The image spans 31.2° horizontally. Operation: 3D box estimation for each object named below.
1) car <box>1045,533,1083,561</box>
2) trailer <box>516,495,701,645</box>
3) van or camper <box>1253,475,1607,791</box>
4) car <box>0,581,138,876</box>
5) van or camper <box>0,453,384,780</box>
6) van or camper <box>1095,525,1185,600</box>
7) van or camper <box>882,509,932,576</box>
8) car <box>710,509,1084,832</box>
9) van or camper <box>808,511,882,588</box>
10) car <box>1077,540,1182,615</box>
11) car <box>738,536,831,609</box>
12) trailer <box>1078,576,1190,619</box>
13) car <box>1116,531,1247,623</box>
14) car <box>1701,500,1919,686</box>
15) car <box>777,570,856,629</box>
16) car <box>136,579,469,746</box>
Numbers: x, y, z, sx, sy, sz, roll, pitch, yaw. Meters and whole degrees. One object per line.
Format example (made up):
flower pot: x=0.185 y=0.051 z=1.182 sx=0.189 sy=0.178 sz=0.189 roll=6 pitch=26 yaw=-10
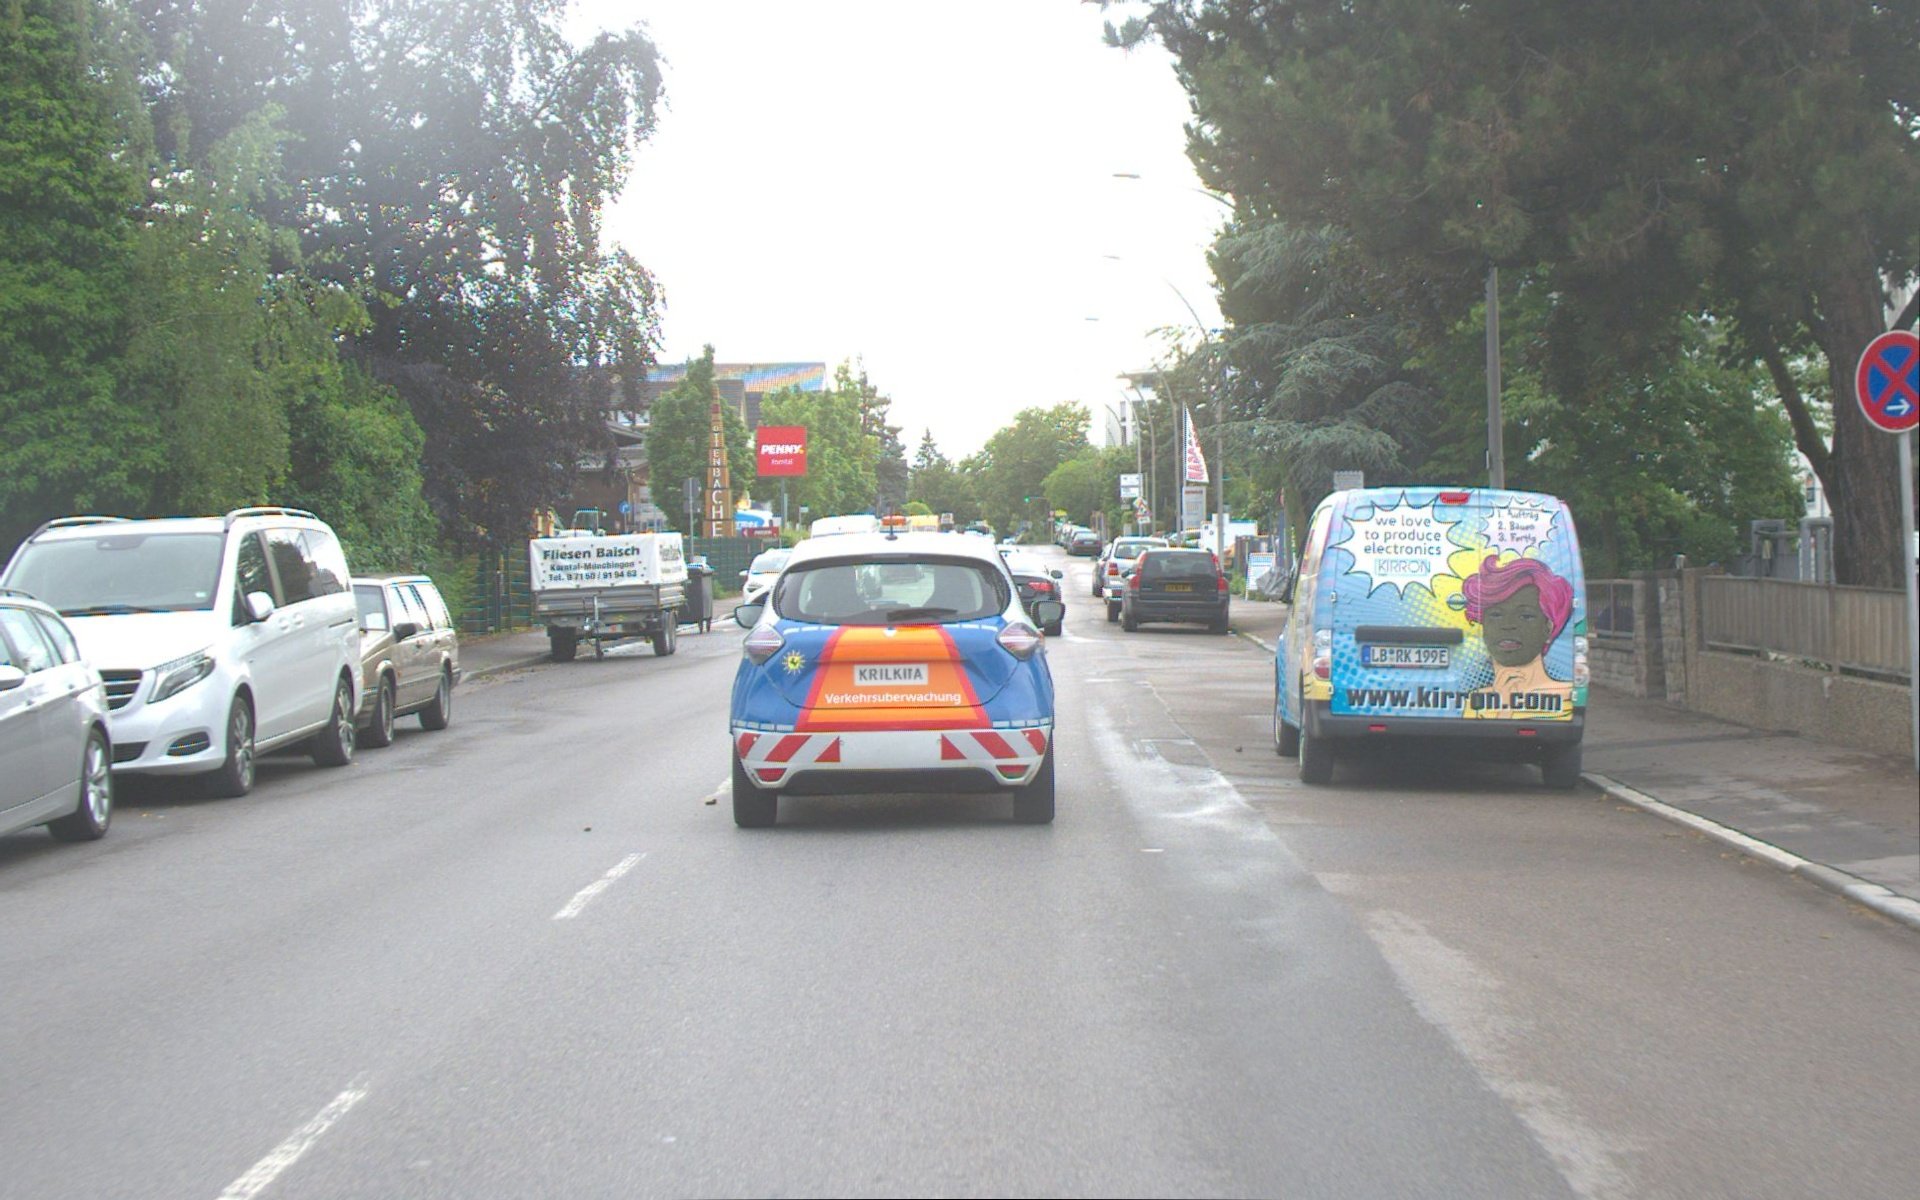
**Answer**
car: x=5.958 y=-3.052 z=197.474 sx=1.993 sy=1.580 sz=4.000 roll=-1 pitch=1 yaw=0
trailer: x=-5.085 y=-0.387 z=50.319 sx=2.220 sy=2.007 sz=4.436 roll=2 pitch=-1 yaw=0
van or camper: x=2.986 y=0.163 z=22.585 sx=1.754 sy=1.876 sz=4.000 roll=-1 pitch=1 yaw=0
car: x=-5.663 y=0.682 z=17.607 sx=1.742 sy=1.475 sz=4.183 roll=-2 pitch=-1 yaw=2
van or camper: x=-5.469 y=0.145 z=24.075 sx=1.890 sy=2.007 sz=5.097 roll=2 pitch=-1 yaw=1
van or camper: x=4.396 y=-0.935 z=84.556 sx=1.993 sy=1.778 sz=4.000 roll=-1 pitch=1 yaw=0
van or camper: x=-2.231 y=-2.453 z=146.231 sx=1.993 sy=2.765 sz=5.441 roll=-1 pitch=1 yaw=0
car: x=-0.321 y=0.325 z=19.520 sx=1.888 sy=1.626 sz=4.000 roll=-1 pitch=1 yaw=0
van or camper: x=-3.588 y=-1.590 z=107.917 sx=2.161 sy=2.345 sz=4.334 roll=-1 pitch=1 yaw=0
car: x=3.415 y=-0.476 z=69.943 sx=1.857 sy=1.450 sz=3.523 roll=-1 pitch=1 yaw=-2
car: x=-4.165 y=-0.639 z=82.202 sx=1.993 sy=1.590 sz=4.000 roll=2 pitch=-1 yaw=0
trailer: x=3.247 y=-0.056 z=64.613 sx=1.938 sy=0.751 sz=2.859 roll=-1 pitch=1 yaw=0
car: x=3.818 y=-0.426 z=59.866 sx=1.993 sy=1.531 sz=4.000 roll=-1 pitch=1 yaw=0
car: x=7.921 y=-0.009 z=30.046 sx=1.993 sy=1.481 sz=4.000 roll=2 pitch=-1 yaw=0
car: x=-3.910 y=-0.031 z=94.275 sx=1.993 sy=1.525 sz=4.000 roll=-1 pitch=1 yaw=0
car: x=-5.589 y=0.491 z=29.719 sx=1.993 sy=1.284 sz=4.000 roll=-1 pitch=1 yaw=2
